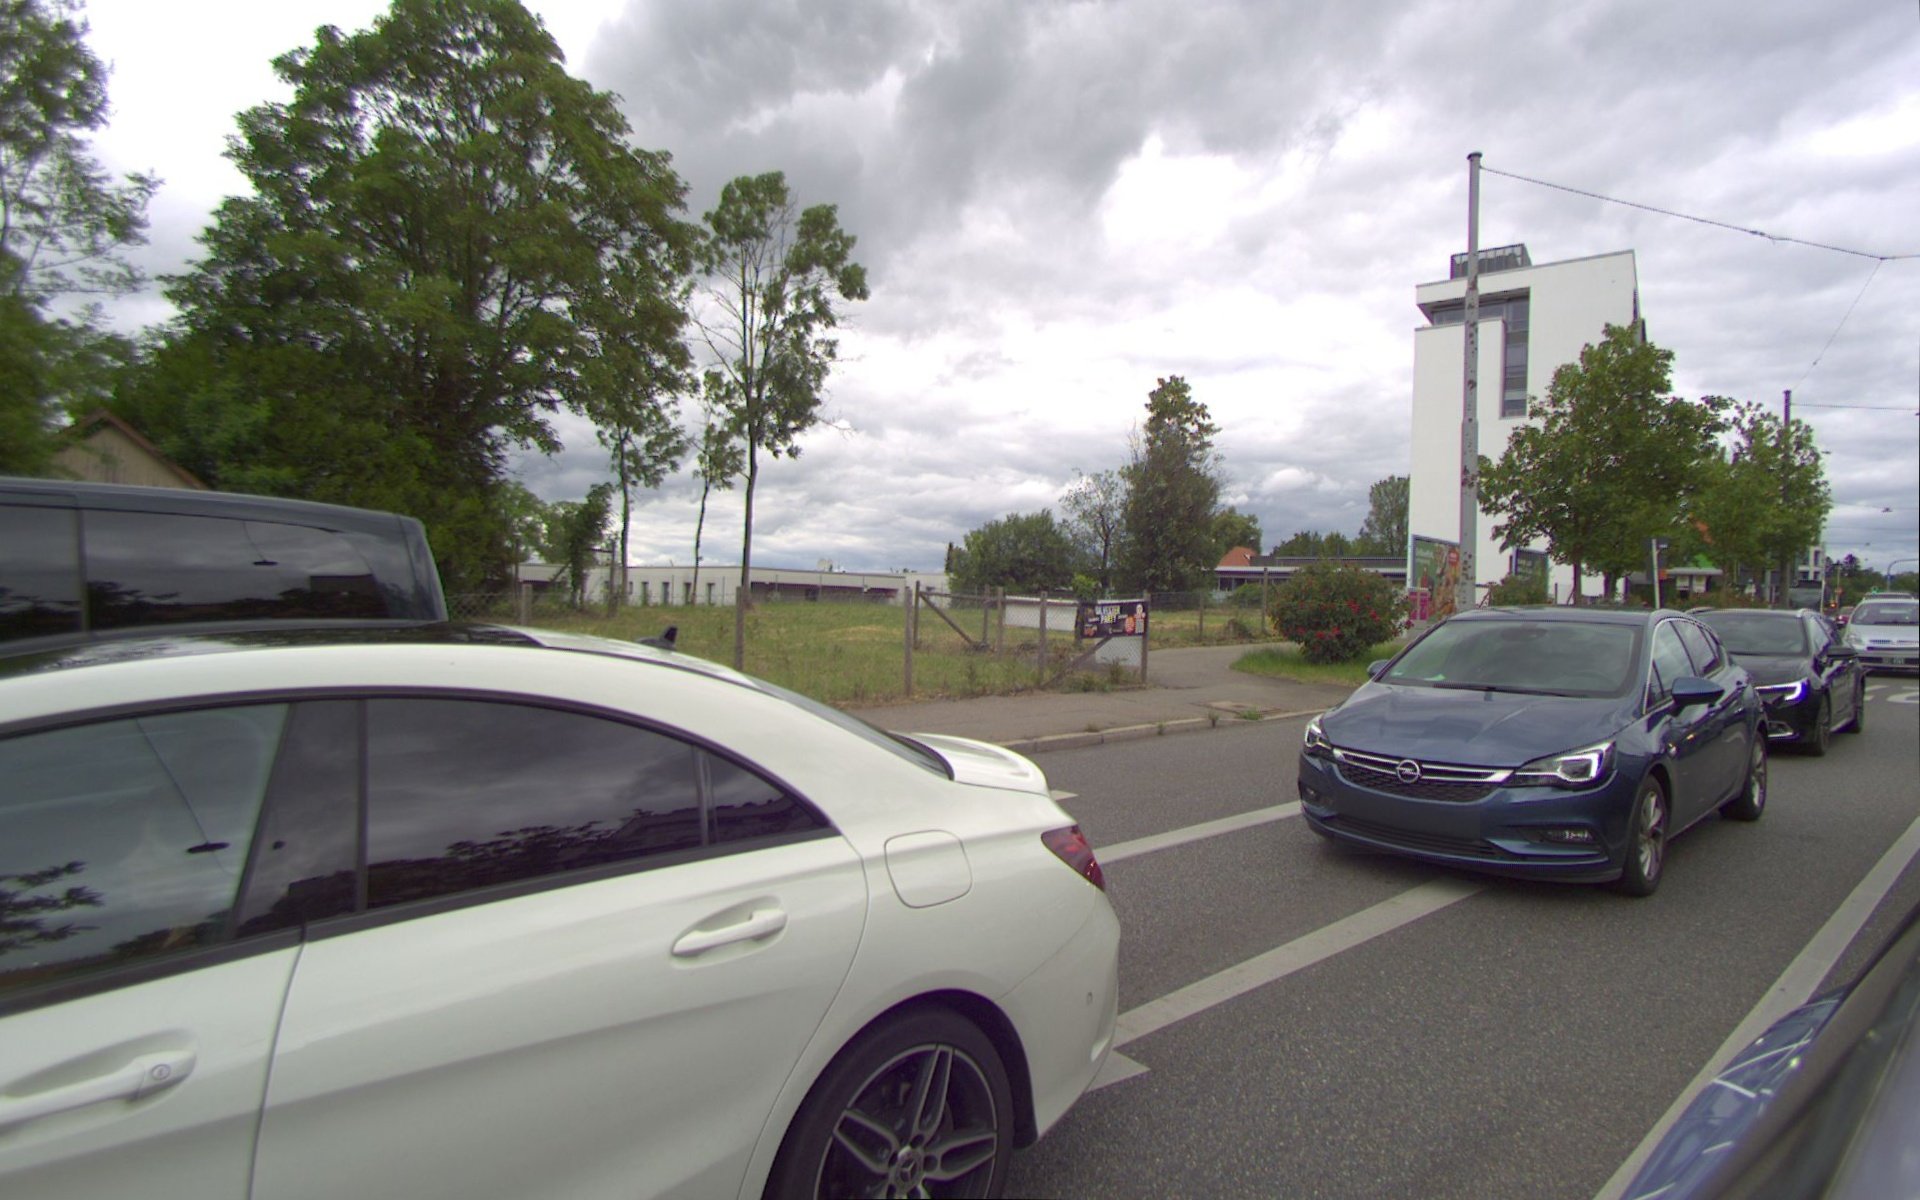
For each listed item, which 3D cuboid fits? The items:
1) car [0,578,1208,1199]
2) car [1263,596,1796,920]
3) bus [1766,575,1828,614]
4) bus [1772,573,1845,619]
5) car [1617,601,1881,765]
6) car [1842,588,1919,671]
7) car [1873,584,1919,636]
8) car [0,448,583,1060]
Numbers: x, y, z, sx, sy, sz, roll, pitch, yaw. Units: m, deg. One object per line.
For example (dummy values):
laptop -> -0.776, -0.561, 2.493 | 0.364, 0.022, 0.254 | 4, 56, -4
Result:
car -> -1.534, 0.697, 1.819 | 4.300, 1.451, 1.652 | 0, 1, -41
car -> 3.814, 0.693, 6.487 | 3.931, 1.428, 1.825 | 0, 0, -42
bus -> 61.422, -0.440, 74.482 | 2.952, 2.664, 12.751 | 0, 1, 37
bus -> 53.955, -0.307, 64.581 | 2.952, 2.664, 11.986 | 0, 1, 37
car -> 8.805, 0.763, 11.183 | 3.854, 1.475, 1.663 | 0, 0, -42
car -> 20.250, 0.577, 21.463 | 3.717, 1.637, 1.849 | 0, -1, -41
car -> 36.815, 0.376, 39.335 | 1.846, 1.910, 4.071 | -1, -1, 44
car -> -3.956, 0.474, 3.478 | 4.627, 1.863, 1.952 | 0, -1, -41
